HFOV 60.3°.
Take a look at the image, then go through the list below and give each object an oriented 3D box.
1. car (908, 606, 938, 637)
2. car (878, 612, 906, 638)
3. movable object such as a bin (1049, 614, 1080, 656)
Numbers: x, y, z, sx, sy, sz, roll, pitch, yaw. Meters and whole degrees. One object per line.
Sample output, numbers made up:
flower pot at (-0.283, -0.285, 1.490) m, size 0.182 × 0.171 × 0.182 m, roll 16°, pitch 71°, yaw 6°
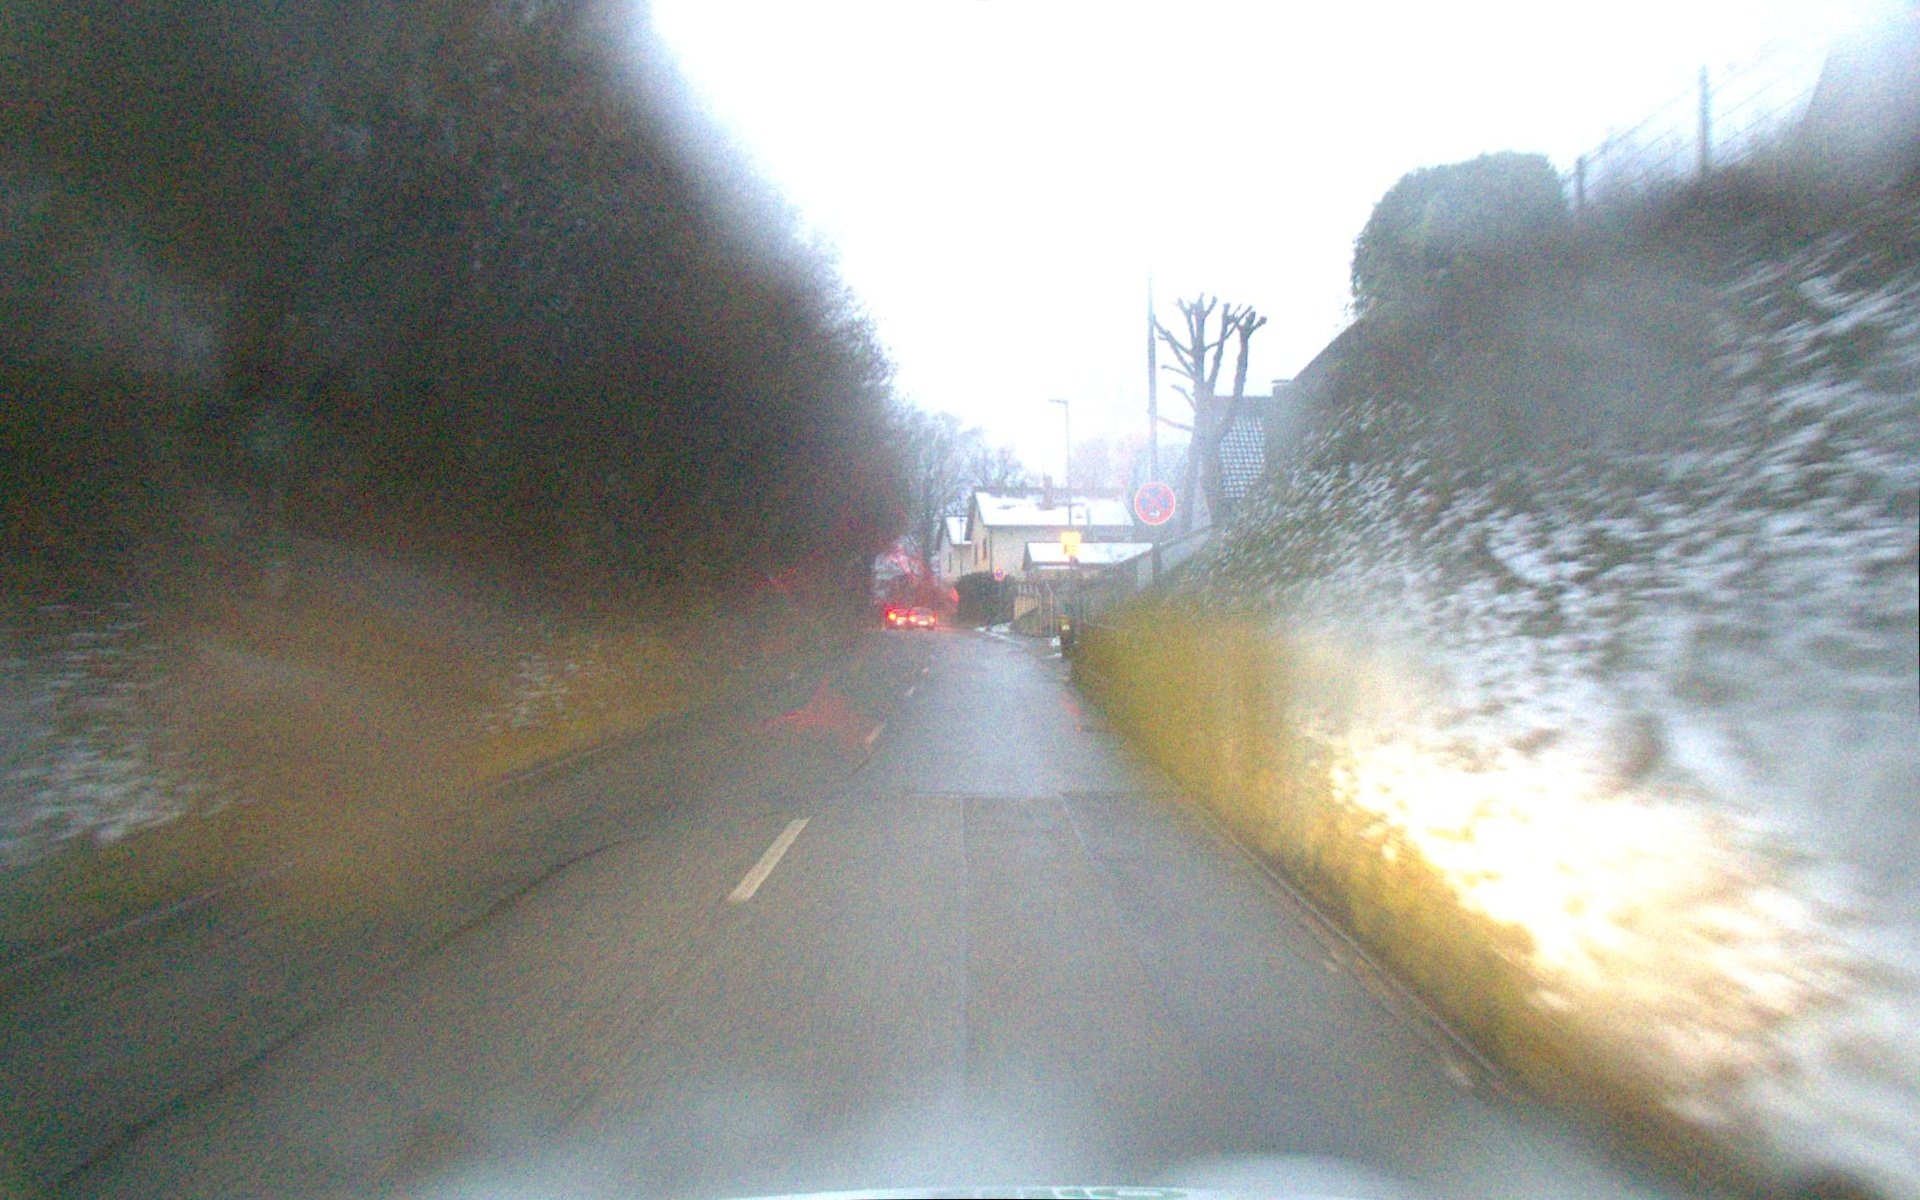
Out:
car at (-2.344, 1.401, 105.321) m, size 1.768 × 1.769 × 3.999 m, roll 2°, pitch -2°, yaw 0°
car at (-4.834, 1.793, 118.314) m, size 1.768 × 1.646 × 3.999 m, roll 2°, pitch -2°, yaw 0°
movable object such as a bin at (2.622, 0.891, 41.594) m, size 0.670 × 1.021 × 0.857 m, roll -2°, pitch -3°, yaw 8°
